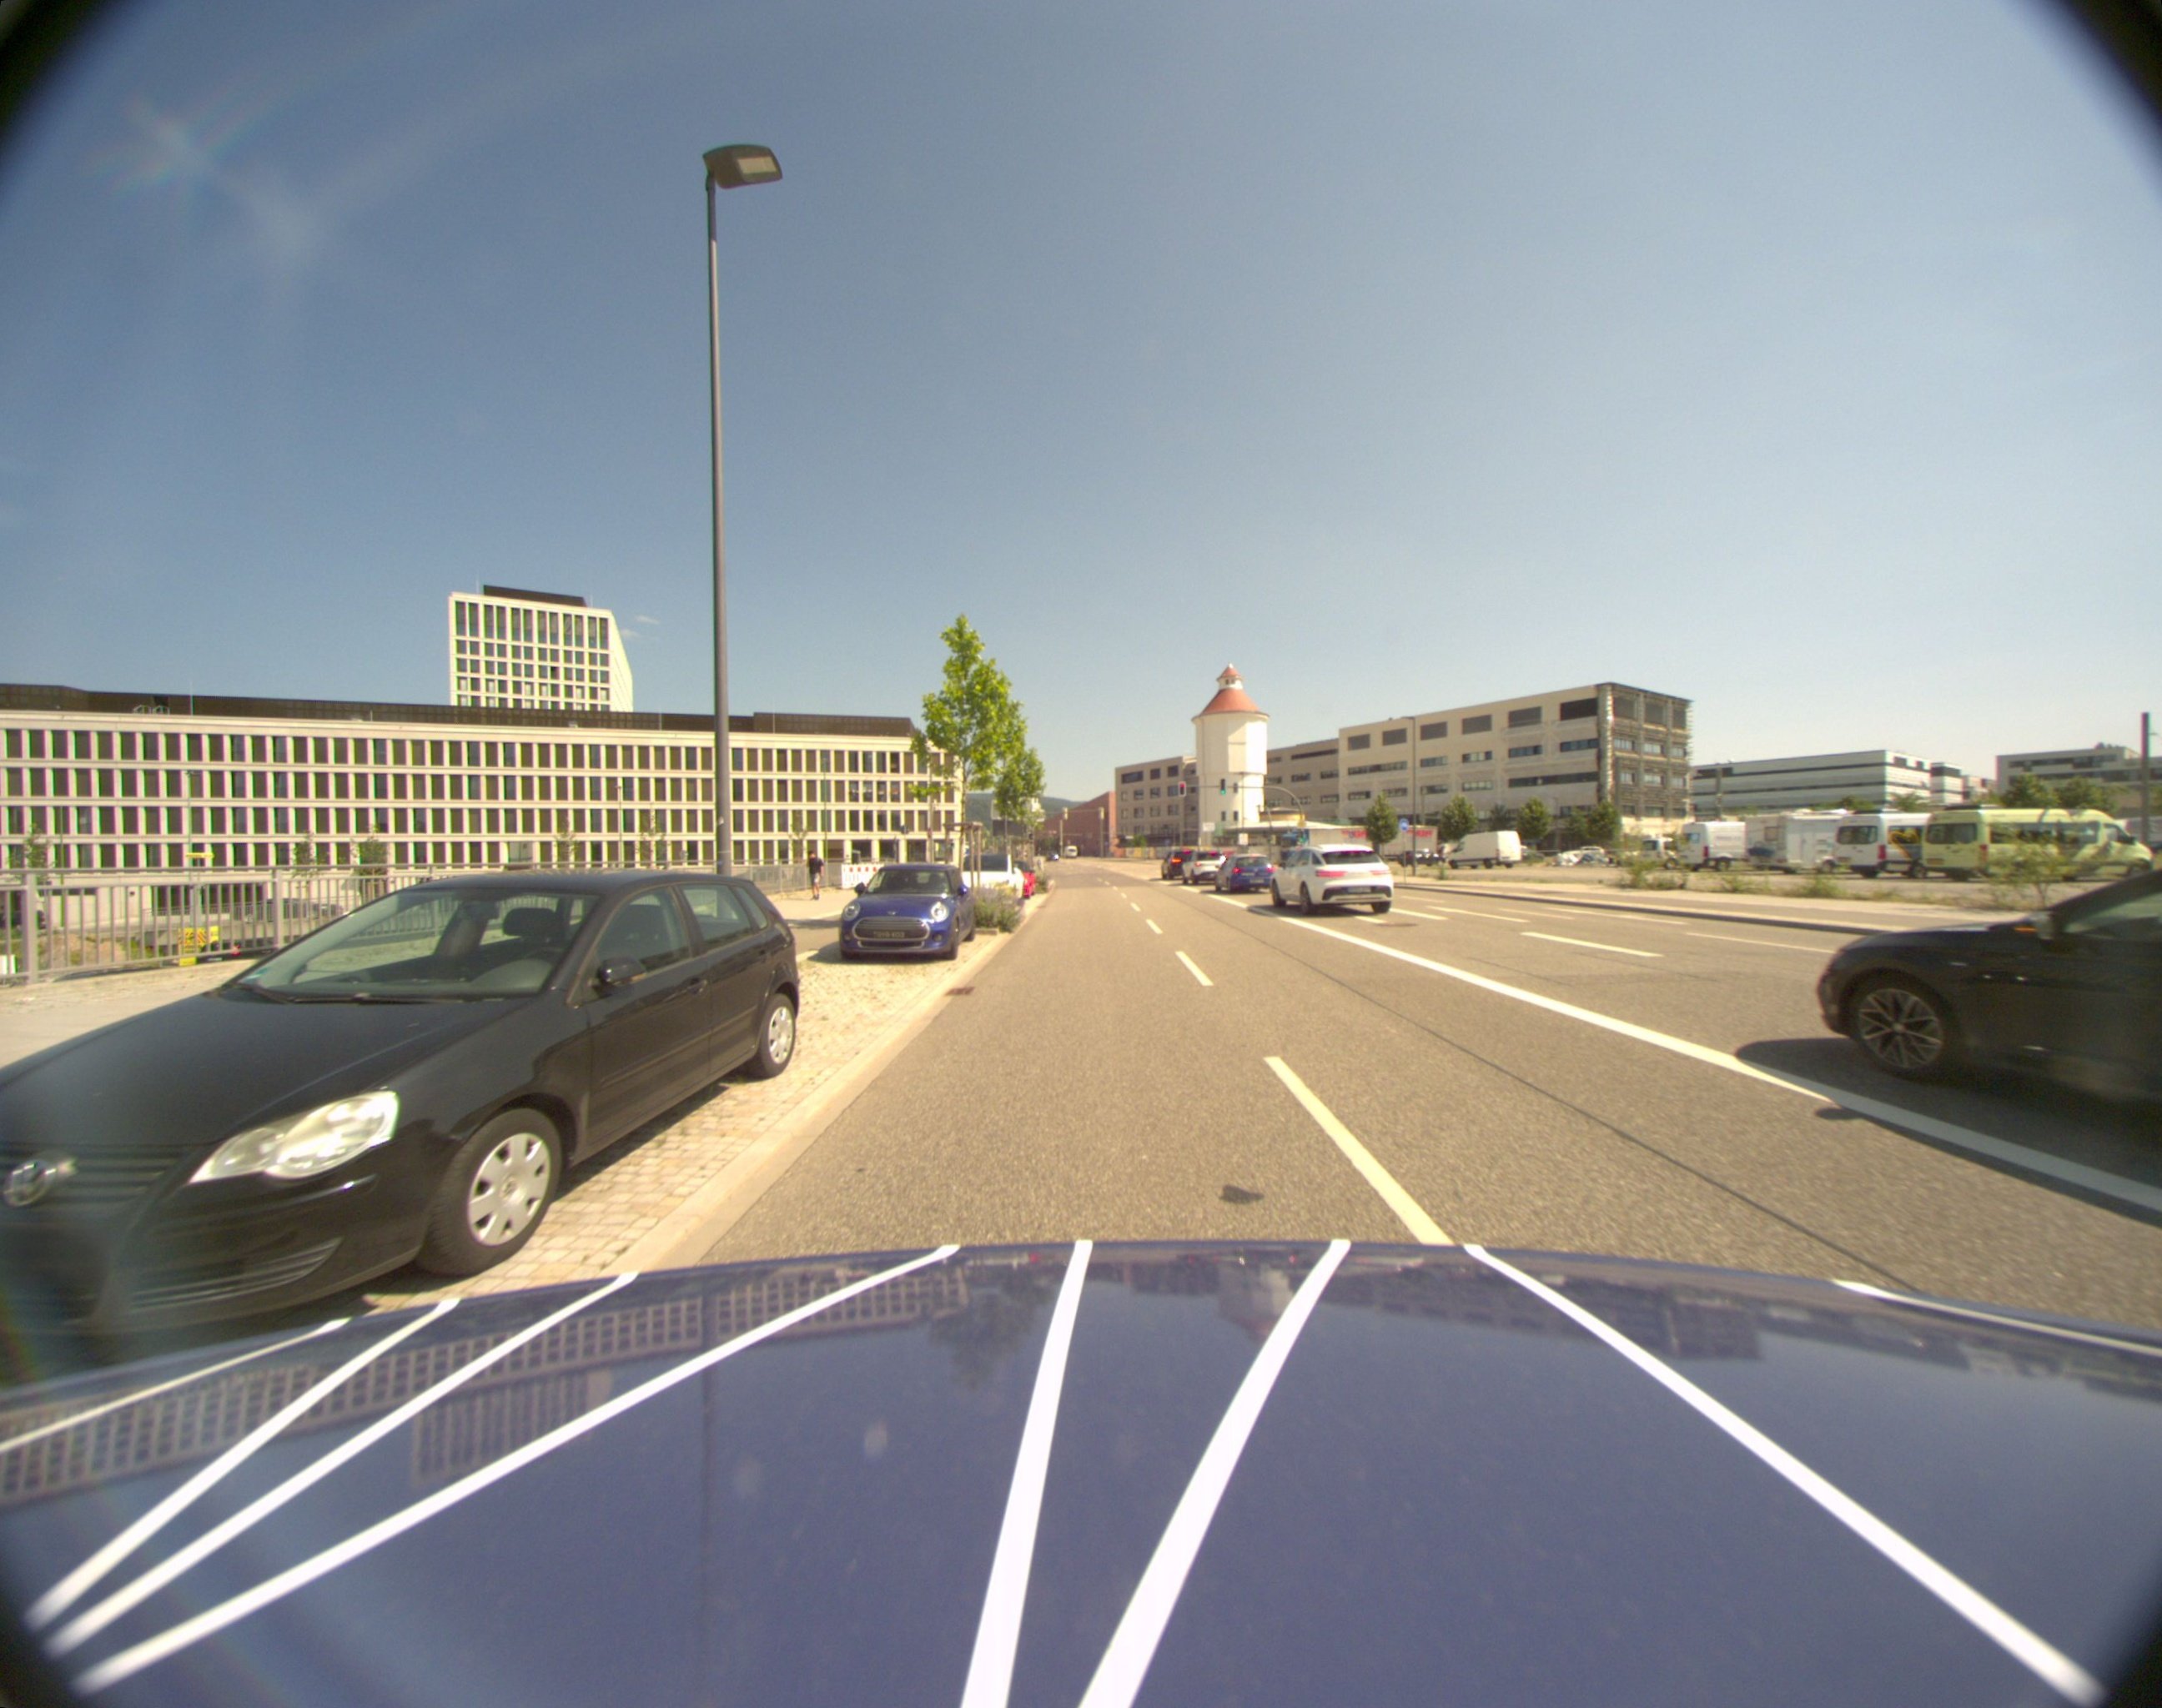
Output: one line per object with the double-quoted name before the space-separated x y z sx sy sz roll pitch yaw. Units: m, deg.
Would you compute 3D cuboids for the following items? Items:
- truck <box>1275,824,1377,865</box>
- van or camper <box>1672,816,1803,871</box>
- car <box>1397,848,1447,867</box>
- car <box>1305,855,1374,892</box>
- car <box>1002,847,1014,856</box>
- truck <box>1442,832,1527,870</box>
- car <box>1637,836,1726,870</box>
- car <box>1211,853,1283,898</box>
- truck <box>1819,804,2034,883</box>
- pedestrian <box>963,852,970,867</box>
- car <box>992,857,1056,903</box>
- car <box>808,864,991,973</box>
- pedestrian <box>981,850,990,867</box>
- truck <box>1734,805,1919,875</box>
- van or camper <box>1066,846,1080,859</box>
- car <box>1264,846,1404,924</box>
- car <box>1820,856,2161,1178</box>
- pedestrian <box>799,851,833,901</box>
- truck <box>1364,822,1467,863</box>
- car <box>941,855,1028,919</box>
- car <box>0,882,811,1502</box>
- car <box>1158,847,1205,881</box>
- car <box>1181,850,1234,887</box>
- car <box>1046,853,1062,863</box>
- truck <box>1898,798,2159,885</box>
"truck" 27.845 -1.117 86.212 10.987 4.045 3.296 -3 2 -17
"van or camper" 34.694 -0.528 40.257 4.912 2.646 2.260 -2 0 1
"car" 31.946 0.321 71.255 4.002 1.630 1.878 -2 1 -14
"car" 11.649 0.830 34.445 1.898 1.407 3.597 -2 2 1
"car" -12.585 -0.365 130.605 1.811 1.499 3.997 -2 0 -8
"truck" 29.795 -0.230 56.395 2.174 2.640 5.937 -1 1 -14
"car" 34.439 -0.060 43.614 3.876 1.748 1.657 -2 0 -3
"car" 6.130 0.744 28.486 1.790 1.413 4.281 -2 1 1
"truck" 34.418 -0.451 31.096 5.849 2.809 2.570 -3 2 2
"pedestrian" -13.594 0.616 90.171 0.827 1.774 0.926 0 2 -8
"car" -2.048 0.903 28.432 1.998 1.510 4.000 -2 0 1
"car" -2.782 0.930 12.670 1.913 1.470 4.158 0 0 2
"pedestrian" -10.758 0.494 85.783 0.880 1.816 1.664 -3 0 -6
"truck" 35.161 -0.660 35.999 6.160 2.885 2.570 -3 2 2
"van or camper" -1.651 -0.202 147.808 2.159 2.400 5.678 -2 0 -6
"car" 6.079 0.657 18.900 1.918 1.640 4.730 -2 0 1
"car" 5.763 0.750 2.763 1.791 1.390 4.572 -2 0 2
"pedestrian" -8.757 0.726 25.155 0.752 1.600 0.949 2 1 1
"truck" 39.103 -1.362 88.986 10.951 4.251 3.341 -3 2 -10
"car" -2.690 0.860 22.236 1.877 1.618 4.876 -2 0 0
"car" -2.936 0.951 3.882 1.624 1.470 3.824 -1 0 2
"car" 5.823 0.562 44.481 1.944 1.778 4.654 -2 0 -2
"car" 6.034 0.657 36.701 1.783 1.672 4.098 -1 0 -2
"car" -4.330 0.632 120.266 1.785 1.552 3.827 -2 0 -14
"truck" 34.715 -0.448 27.986 6.654 2.809 2.602 -2 1 -3
